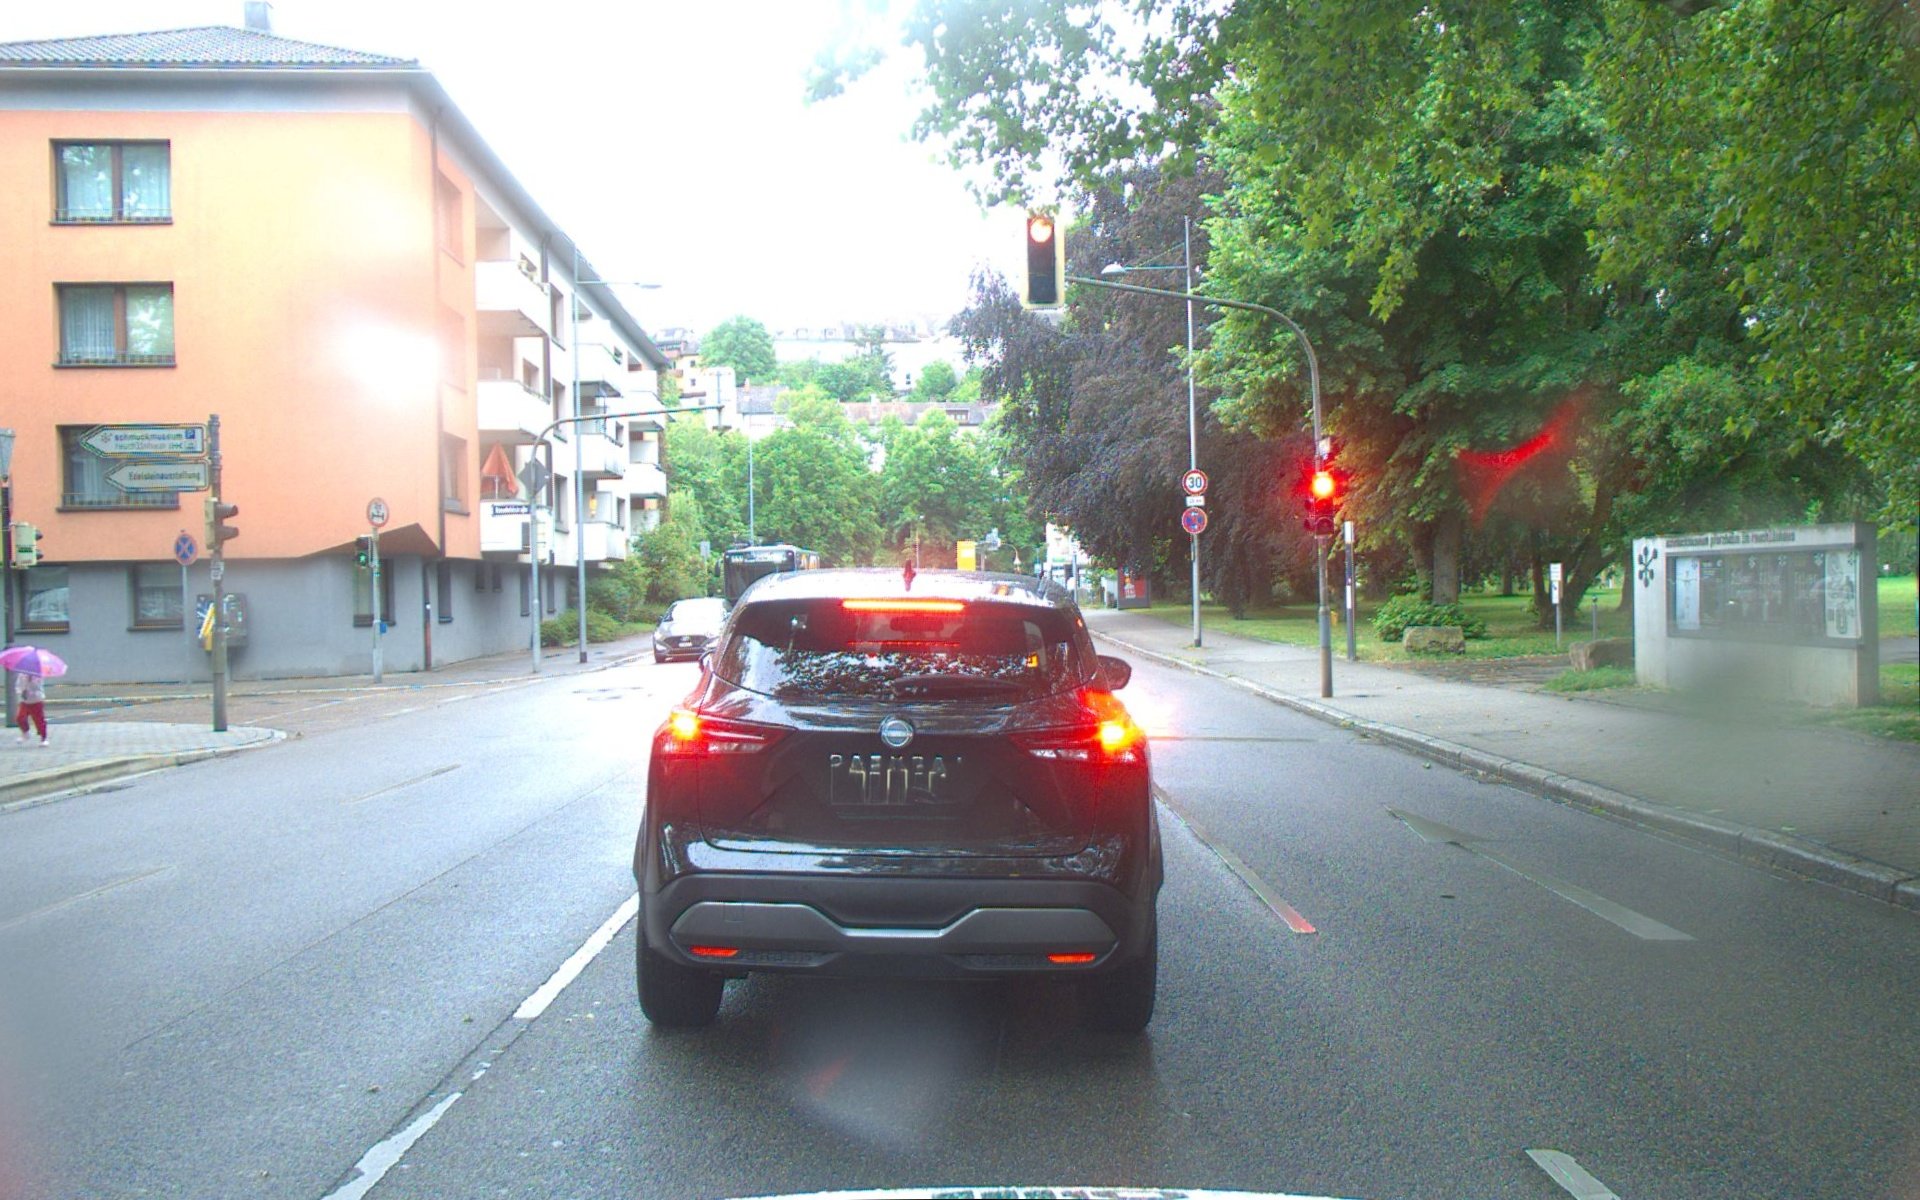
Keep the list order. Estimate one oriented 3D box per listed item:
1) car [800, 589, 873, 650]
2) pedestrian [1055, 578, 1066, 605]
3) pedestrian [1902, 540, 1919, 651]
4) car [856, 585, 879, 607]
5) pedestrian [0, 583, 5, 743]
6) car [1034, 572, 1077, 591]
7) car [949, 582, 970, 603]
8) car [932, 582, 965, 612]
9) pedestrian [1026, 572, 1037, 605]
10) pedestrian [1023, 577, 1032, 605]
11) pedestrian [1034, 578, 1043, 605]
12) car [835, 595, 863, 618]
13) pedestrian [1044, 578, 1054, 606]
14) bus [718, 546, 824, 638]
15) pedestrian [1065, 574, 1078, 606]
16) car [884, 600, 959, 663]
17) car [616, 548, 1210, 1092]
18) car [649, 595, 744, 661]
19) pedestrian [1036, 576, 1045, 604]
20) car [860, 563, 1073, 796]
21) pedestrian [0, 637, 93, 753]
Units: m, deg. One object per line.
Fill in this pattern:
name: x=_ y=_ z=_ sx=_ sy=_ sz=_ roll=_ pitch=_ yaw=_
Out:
car: x=-3.113 y=0.459 z=42.221 sx=1.591 sy=1.439 sz=3.454 roll=-2 pitch=0 yaw=0
pedestrian: x=6.753 y=-0.560 z=111.314 sx=0.606 sy=1.810 sz=0.550 roll=-2 pitch=0 yaw=-1
pedestrian: x=15.813 y=-0.068 z=26.797 sx=0.651 sy=1.787 sz=0.722 roll=1 pitch=-1 yaw=-9
car: x=-7.565 y=-0.337 z=135.523 sx=1.714 sy=1.662 sz=3.634 roll=-2 pitch=1 yaw=0
pedestrian: x=-11.116 y=0.694 z=17.798 sx=0.972 sy=1.772 sz=1.209 roll=1 pitch=0 yaw=-1
car: x=9.509 y=-1.823 z=164.491 sx=3.916 sy=1.713 sz=1.995 roll=-2 pitch=0 yaw=-11
car: x=-0.068 y=-0.640 z=138.535 sx=1.714 sy=1.662 sz=3.634 roll=-2 pitch=1 yaw=0
car: x=-0.564 y=-0.152 z=83.155 sx=1.591 sy=1.439 sz=3.454 roll=-2 pitch=0 yaw=0
pedestrian: x=4.829 y=-0.762 z=111.770 sx=0.752 sy=2.222 sz=0.711 roll=1 pitch=-1 yaw=2
pedestrian: x=4.133 y=-0.540 z=101.348 sx=0.465 sy=1.680 sz=0.490 roll=1 pitch=-1 yaw=0
pedestrian: x=4.798 y=-0.529 z=101.363 sx=0.533 sy=1.680 sz=0.490 roll=1 pitch=-1 yaw=0
car: x=-7.533 y=0.428 z=112.579 sx=1.643 sy=1.495 sz=4.215 roll=-3 pitch=1 yaw=-2
pedestrian: x=5.963 y=-0.531 z=110.649 sx=0.606 sy=1.810 sz=0.550 roll=-2 pitch=0 yaw=-1
bus: x=-6.868 y=-0.279 z=61.734 sx=2.710 sy=3.026 sz=11.779 roll=-1 pitch=0 yaw=-1
pedestrian: x=6.249 y=-0.570 z=93.128 sx=0.606 sy=1.810 sz=0.778 roll=-2 pitch=0 yaw=-1
car: x=-0.971 y=0.731 z=40.962 sx=1.772 sy=1.442 sz=4.029 roll=0 pitch=0 yaw=-2
car: x=-0.165 y=0.674 z=7.001 sx=1.769 sy=1.618 sz=3.999 roll=1 pitch=0 yaw=-1
car: x=-6.440 y=0.642 z=40.823 sx=1.772 sy=1.441 sz=4.029 roll=-3 pitch=1 yaw=-2
pedestrian: x=4.862 y=-0.594 z=99.640 sx=0.504 sy=1.684 sz=0.550 roll=1 pitch=-1 yaw=-1
car: x=0.079 y=0.602 z=14.657 sx=1.588 sy=1.738 sz=3.771 roll=-2 pitch=0 yaw=1
pedestrian: x=-9.940 y=1.014 z=17.910 sx=0.670 sy=1.195 sz=0.826 roll=1 pitch=0 yaw=-1
